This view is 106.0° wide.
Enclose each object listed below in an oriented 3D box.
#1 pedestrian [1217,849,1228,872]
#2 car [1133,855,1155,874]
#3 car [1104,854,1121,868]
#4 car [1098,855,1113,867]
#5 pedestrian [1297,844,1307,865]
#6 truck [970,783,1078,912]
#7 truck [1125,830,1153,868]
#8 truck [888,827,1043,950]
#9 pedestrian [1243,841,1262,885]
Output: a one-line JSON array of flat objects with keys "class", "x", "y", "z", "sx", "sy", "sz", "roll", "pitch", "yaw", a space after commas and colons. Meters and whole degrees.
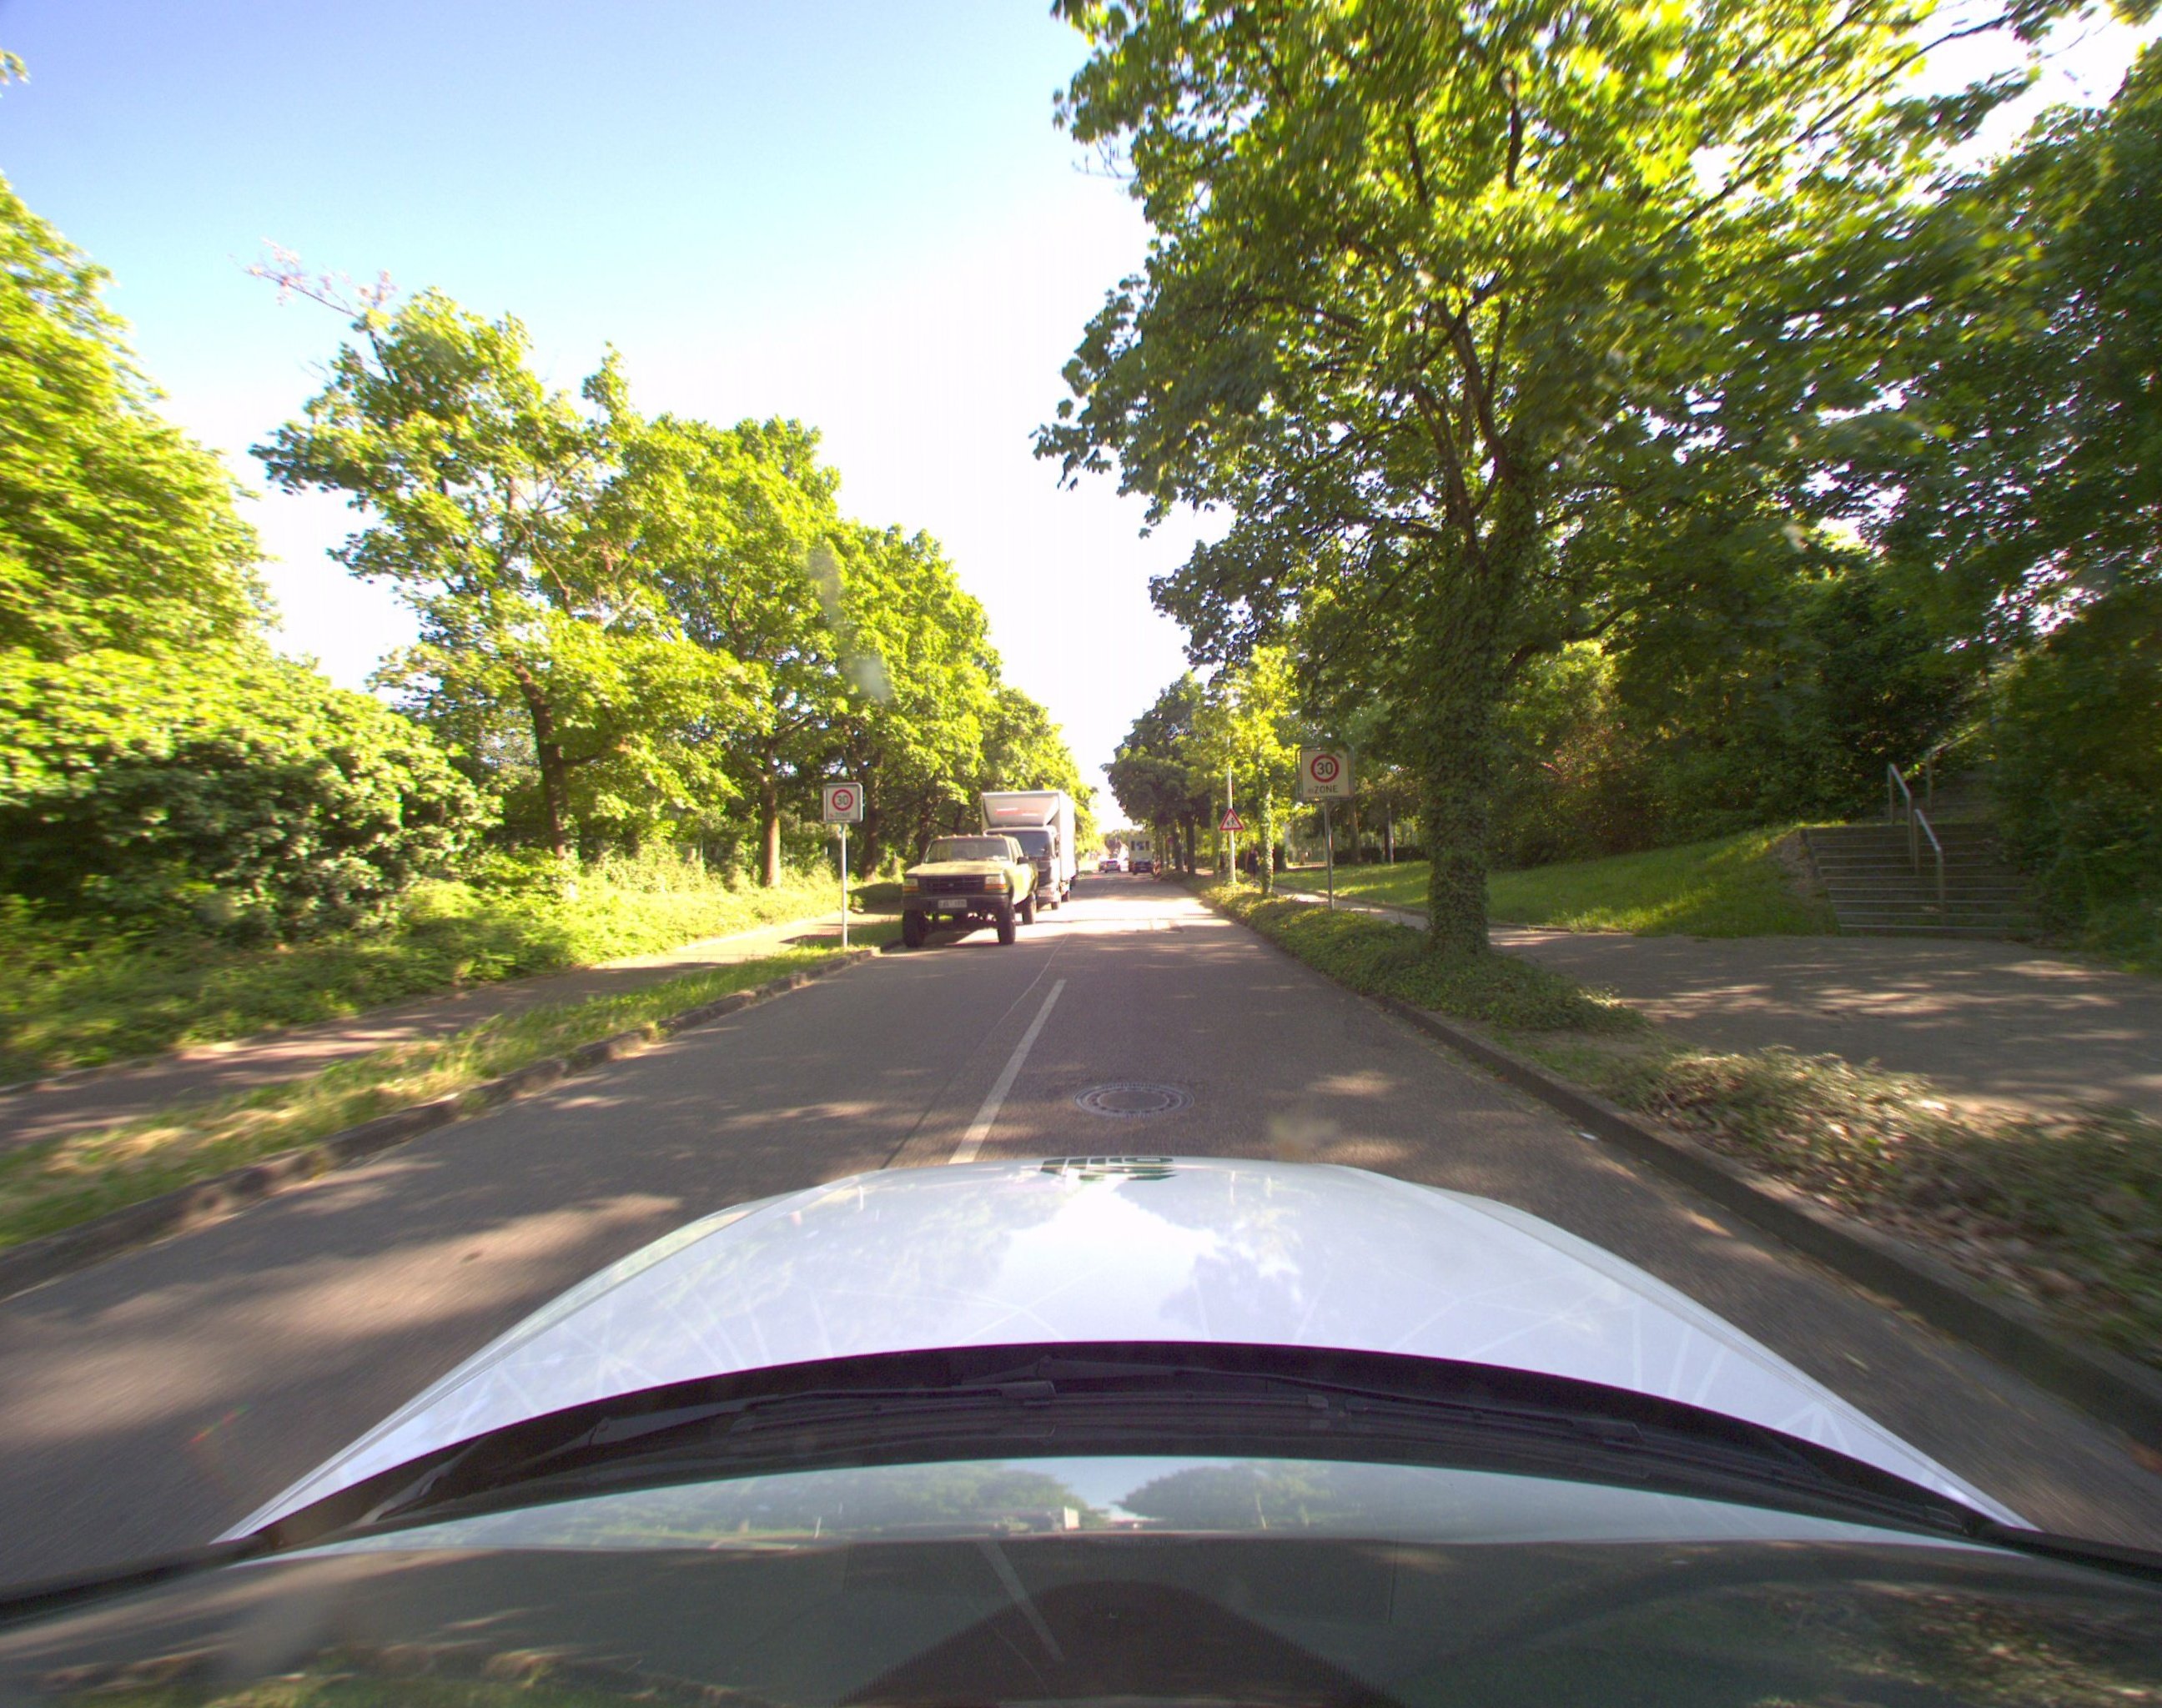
[{"class": "pedestrian", "x": 10.401, "y": 0.487, "z": 59.833, "sx": 0.645, "sy": 1.661, "sz": 0.651, "roll": -2, "pitch": -1, "yaw": 5}, {"class": "car", "x": 5.315, "y": 0.908, "z": 69.184, "sx": 1.786, "sy": 1.510, "sz": 4.004, "roll": -2, "pitch": 0, "yaw": 4}, {"class": "car", "x": 3.578, "y": 0.800, "z": 92.481, "sx": 1.786, "sy": 1.510, "sz": 4.004, "roll": -2, "pitch": 0, "yaw": 4}, {"class": "car", "x": 3.246, "y": 0.961, "z": 108.447, "sx": 1.786, "sy": 1.510, "sz": 4.004, "roll": -2, "pitch": 0, "yaw": 4}, {"class": "pedestrian", "x": 17.294, "y": 0.056, "z": 63.668, "sx": 0.645, "sy": 1.661, "sz": 0.651, "roll": -2, "pitch": -1, "yaw": 5}, {"class": "truck", "x": -1.663, "y": -0.174, "z": 27.529, "sx": 2.603, "sy": 3.627, "sz": 7.962, "roll": -2, "pitch": 0, "yaw": 3}, {"class": "truck", "x": 6.508, "y": -0.526, "z": 91.285, "sx": 2.875, "sy": 3.944, "sz": 10.011, "roll": -1, "pitch": 0, "yaw": 4}, {"class": "truck", "x": -2.195, "y": 0.616, "z": 17.677, "sx": 2.105, "sy": 2.094, "sz": 6.651, "roll": -2, "pitch": 0, "yaw": 2}, {"class": "pedestrian", "x": 7.173, "y": 0.384, "z": 34.095, "sx": 0.645, "sy": 1.820, "sz": 0.651, "roll": -2, "pitch": -1, "yaw": 4}]
